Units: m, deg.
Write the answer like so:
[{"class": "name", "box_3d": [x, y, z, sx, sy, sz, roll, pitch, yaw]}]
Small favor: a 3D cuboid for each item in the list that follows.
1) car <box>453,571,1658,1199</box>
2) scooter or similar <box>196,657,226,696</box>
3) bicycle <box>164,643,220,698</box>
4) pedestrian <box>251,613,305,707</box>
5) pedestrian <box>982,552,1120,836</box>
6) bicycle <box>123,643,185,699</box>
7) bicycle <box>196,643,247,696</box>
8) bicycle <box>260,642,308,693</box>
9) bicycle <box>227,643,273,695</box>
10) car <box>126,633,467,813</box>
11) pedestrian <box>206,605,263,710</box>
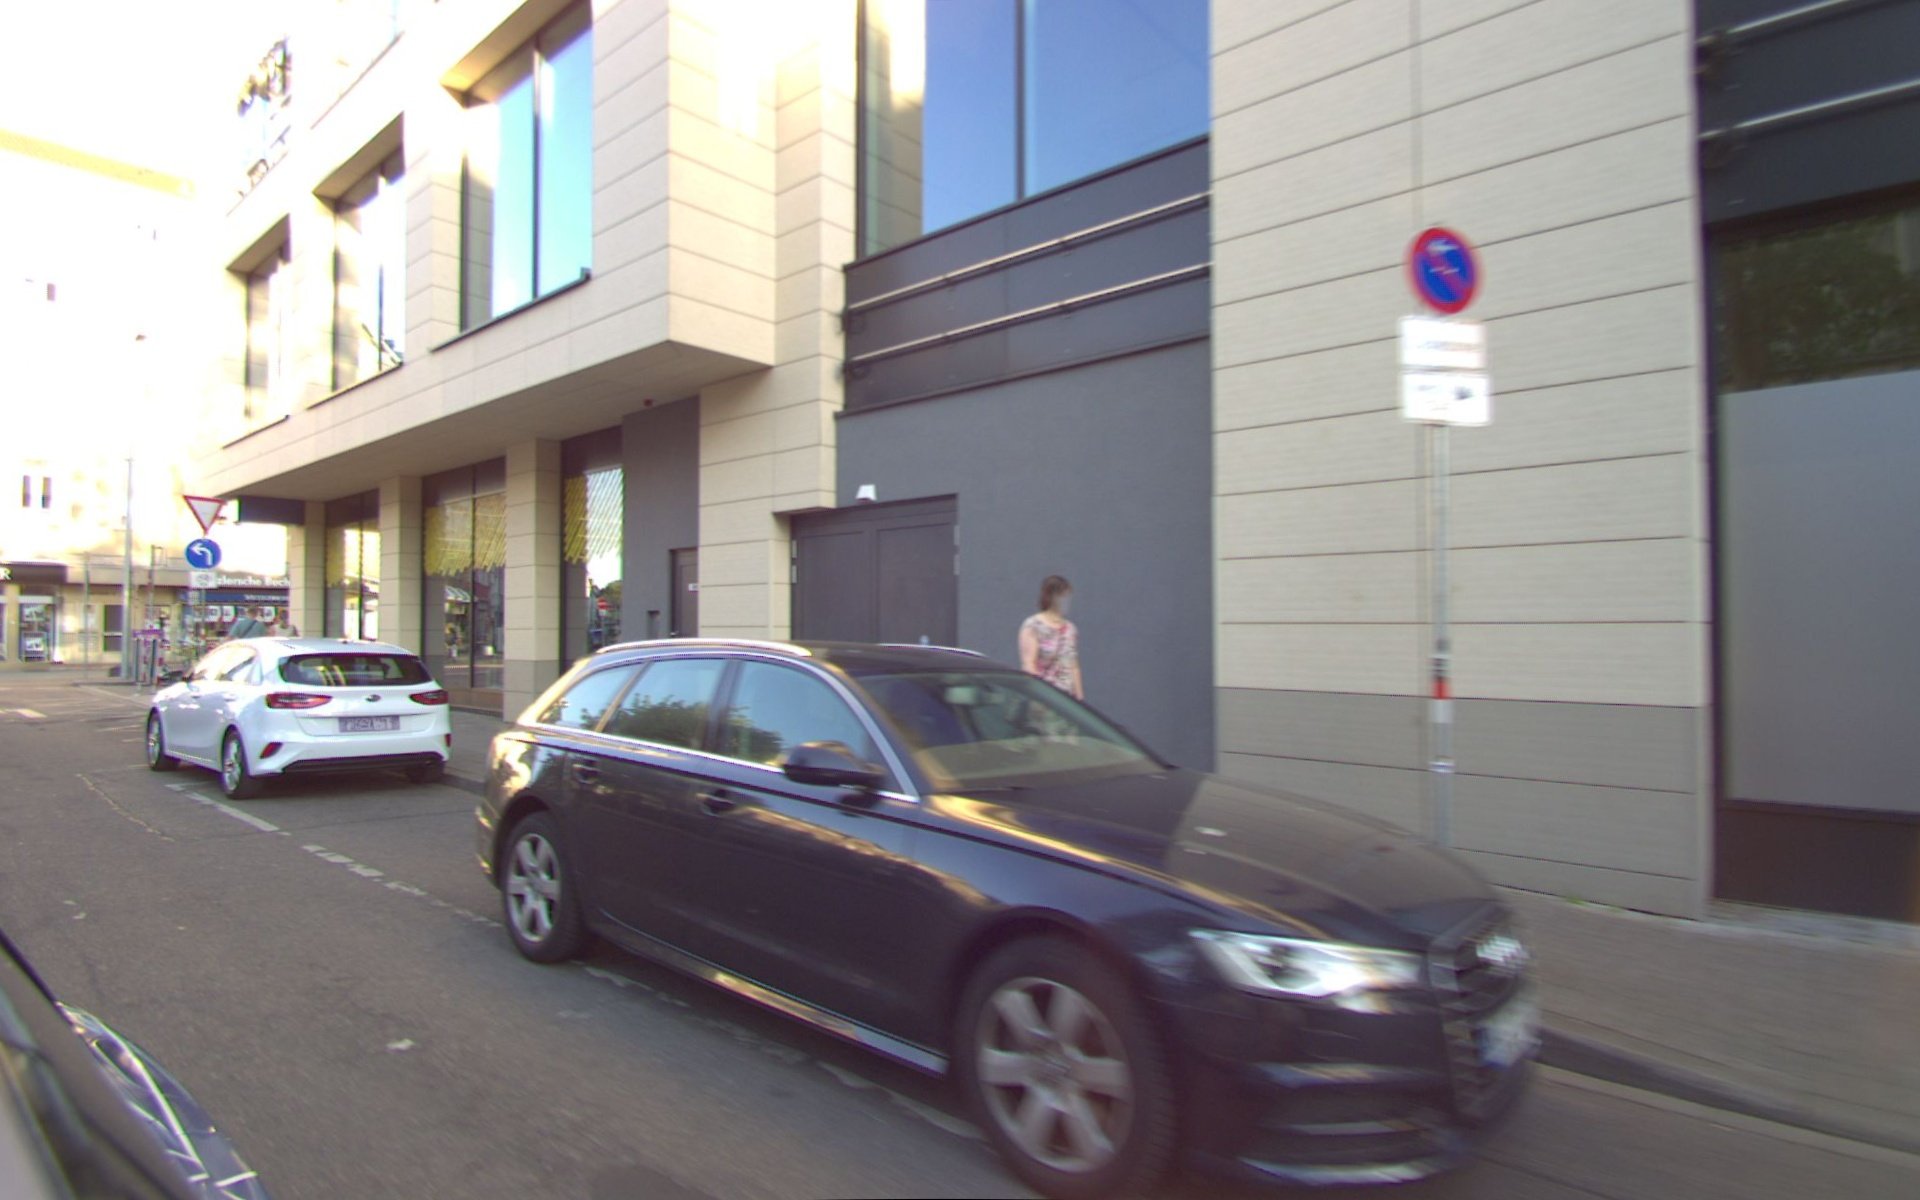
[{"class": "car", "box_3d": [-0.172, 0.835, 4.094, 4.689, 1.610, 1.863, -2, -3, 43]}, {"class": "scooter or similar", "box_3d": [-17.931, 1.827, 24.223, 0.769, 0.891, 0.383, -1, -2, 40]}, {"class": "bicycle", "box_3d": [-19.071, 1.730, 25.108, 2.041, 1.264, 0.575, -1, -2, 38]}, {"class": "pedestrian", "box_3d": [-12.675, 1.100, 18.808, 0.646, 1.687, 0.665, -2, -2, 38]}, {"class": "pedestrian", "box_3d": [0.605, 0.592, 6.742, 0.647, 1.758, 0.665, -2, -3, 41]}, {"class": "bicycle", "box_3d": [-19.501, 1.689, 24.480, 2.137, 1.264, 0.657, -1, -2, 38]}, {"class": "bicycle", "box_3d": [-18.720, 1.743, 25.636, 1.976, 1.264, 0.507, -1, -2, 38]}, {"class": "bicycle", "box_3d": [-17.802, 1.767, 26.644, 1.977, 1.264, 0.506, -1, -2, 40]}, {"class": "bicycle", "box_3d": [-18.345, 1.754, 26.126, 1.978, 1.264, 0.506, -1, -2, 42]}, {"class": "car", "box_3d": [-6.890, 1.081, 10.347, 4.227, 1.464, 1.759, -2, -3, 40]}, {"class": "pedestrian", "box_3d": [-13.089, 1.019, 18.272, 0.646, 1.850, 0.665, -2, -2, 38]}]
